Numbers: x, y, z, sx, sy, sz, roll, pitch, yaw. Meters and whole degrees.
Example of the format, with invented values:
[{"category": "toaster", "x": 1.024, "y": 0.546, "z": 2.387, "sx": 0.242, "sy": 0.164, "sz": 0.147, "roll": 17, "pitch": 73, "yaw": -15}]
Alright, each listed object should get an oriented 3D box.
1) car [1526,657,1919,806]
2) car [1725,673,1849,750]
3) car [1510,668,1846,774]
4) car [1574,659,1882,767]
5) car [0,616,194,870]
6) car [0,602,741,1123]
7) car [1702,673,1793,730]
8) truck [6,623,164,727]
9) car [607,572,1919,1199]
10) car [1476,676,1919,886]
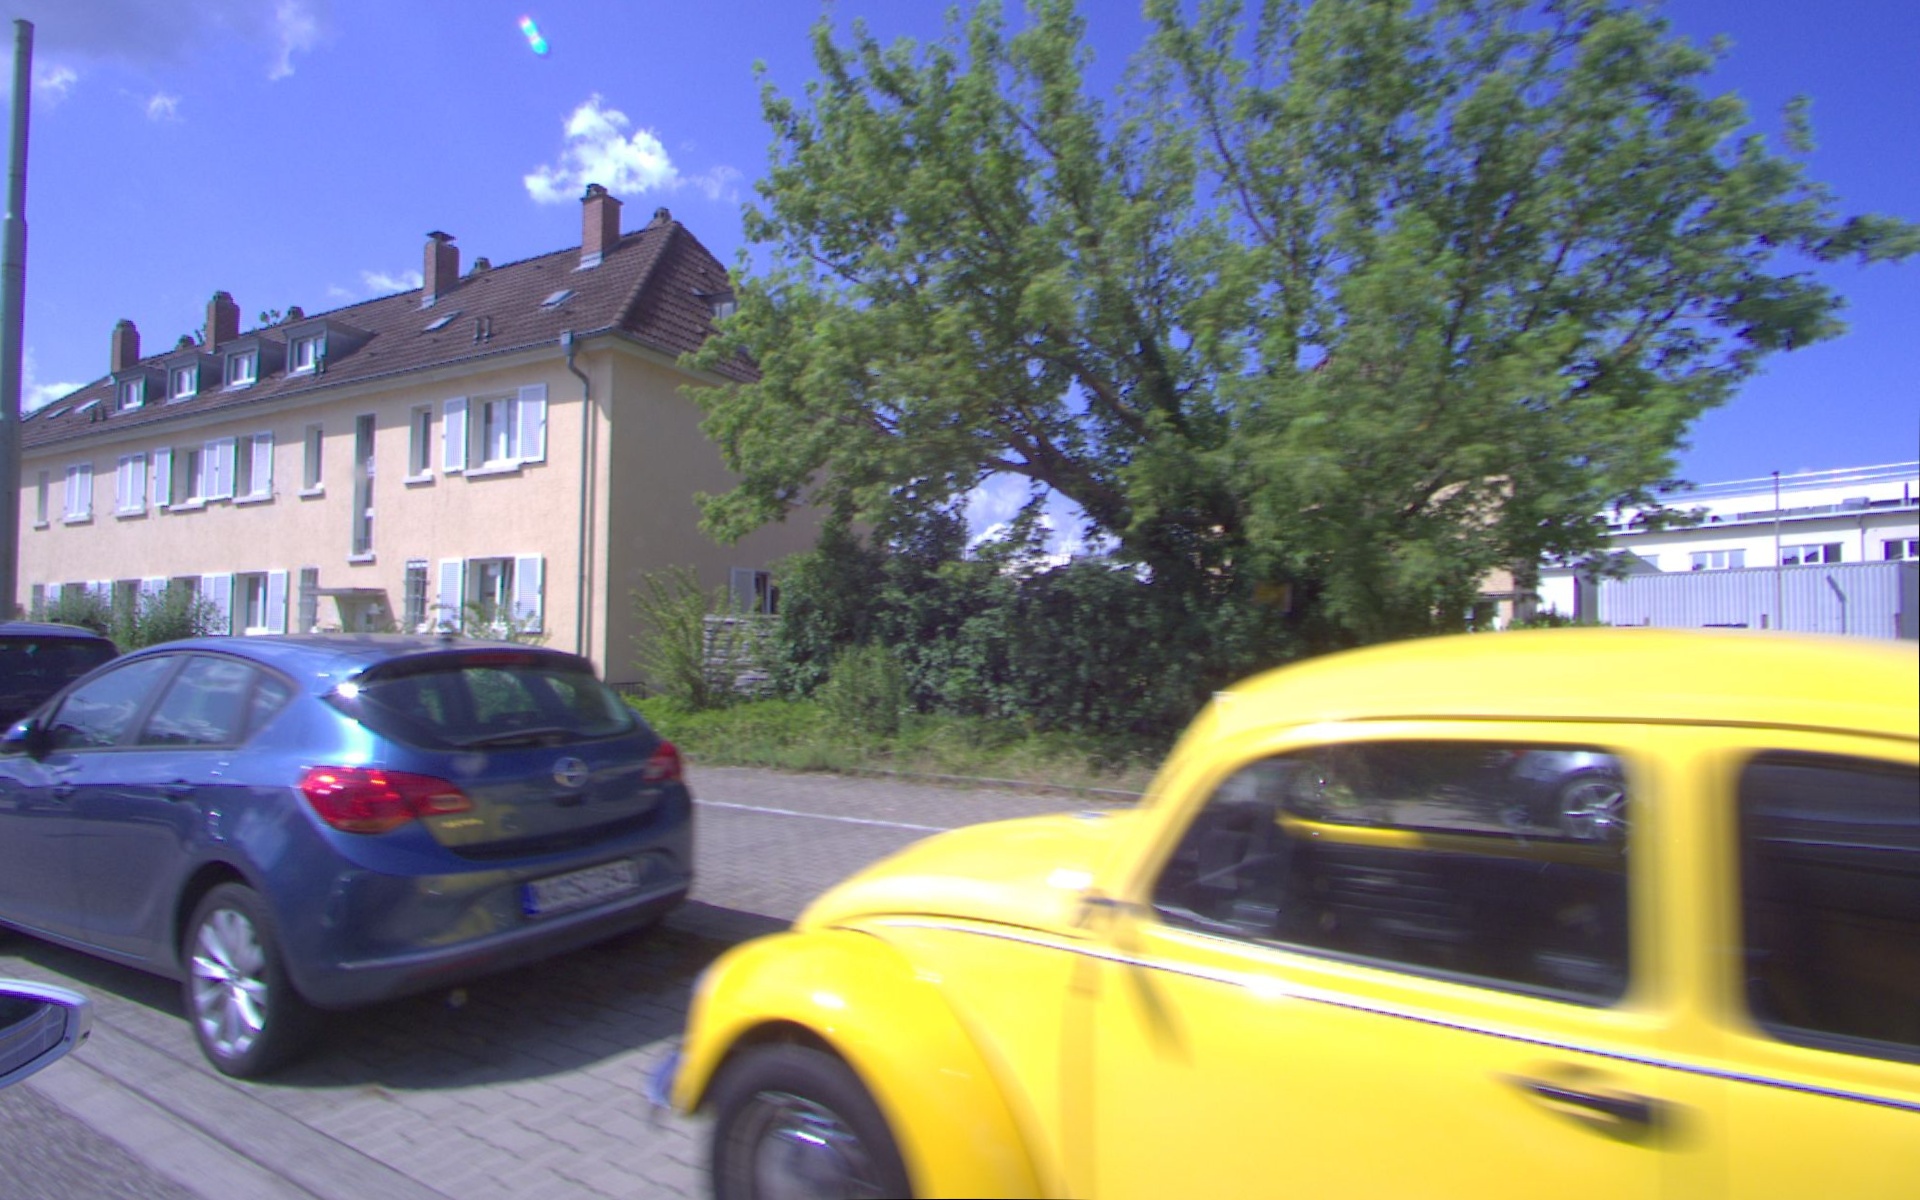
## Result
[{"category": "car", "x": 9.850, "y": 1.605, "z": 13.212, "sx": 4.032, "sy": 1.567, "sz": 1.632, "roll": -1, "pitch": 0, "yaw": 34}, {"category": "car", "x": 17.240, "y": 2.269, "z": 21.026, "sx": 1.620, "sy": 1.453, "sz": 4.066, "roll": -4, "pitch": -5, "yaw": 35}, {"category": "car", "x": 10.954, "y": 1.787, "z": 15.604, "sx": 4.032, "sy": 1.418, "sz": 1.633, "roll": -2, "pitch": -4, "yaw": 34}, {"category": "car", "x": 13.144, "y": 1.924, "z": 17.470, "sx": 4.034, "sy": 1.684, "sz": 1.633, "roll": -4, "pitch": -5, "yaw": 34}, {"category": "car", "x": -7.740, "y": 0.951, "z": 7.535, "sx": 3.870, "sy": 1.622, "sz": 1.636, "roll": -1, "pitch": -3, "yaw": 28}, {"category": "car", "x": -3.121, "y": 0.831, "z": 4.642, "sx": 4.063, "sy": 1.500, "sz": 1.635, "roll": -1, "pitch": -3, "yaw": 30}, {"category": "car", "x": 20.782, "y": 2.651, "z": 26.556, "sx": 1.620, "sy": 1.381, "sz": 4.066, "roll": -4, "pitch": -5, "yaw": 35}, {"category": "truck", "x": -15.394, "y": 1.287, "z": 17.619, "sx": 2.404, "sy": 1.709, "sz": 1.345, "roll": -1, "pitch": -3, "yaw": 29}, {"category": "car", "x": 1.256, "y": 0.727, "z": 1.964, "sx": 3.875, "sy": 1.502, "sz": 1.633, "roll": 0, "pitch": 0, "yaw": 32}, {"category": "car", "x": 6.556, "y": 1.356, "z": 8.080, "sx": 4.038, "sy": 1.372, "sz": 1.631, "roll": -2, "pitch": -4, "yaw": 39}]
